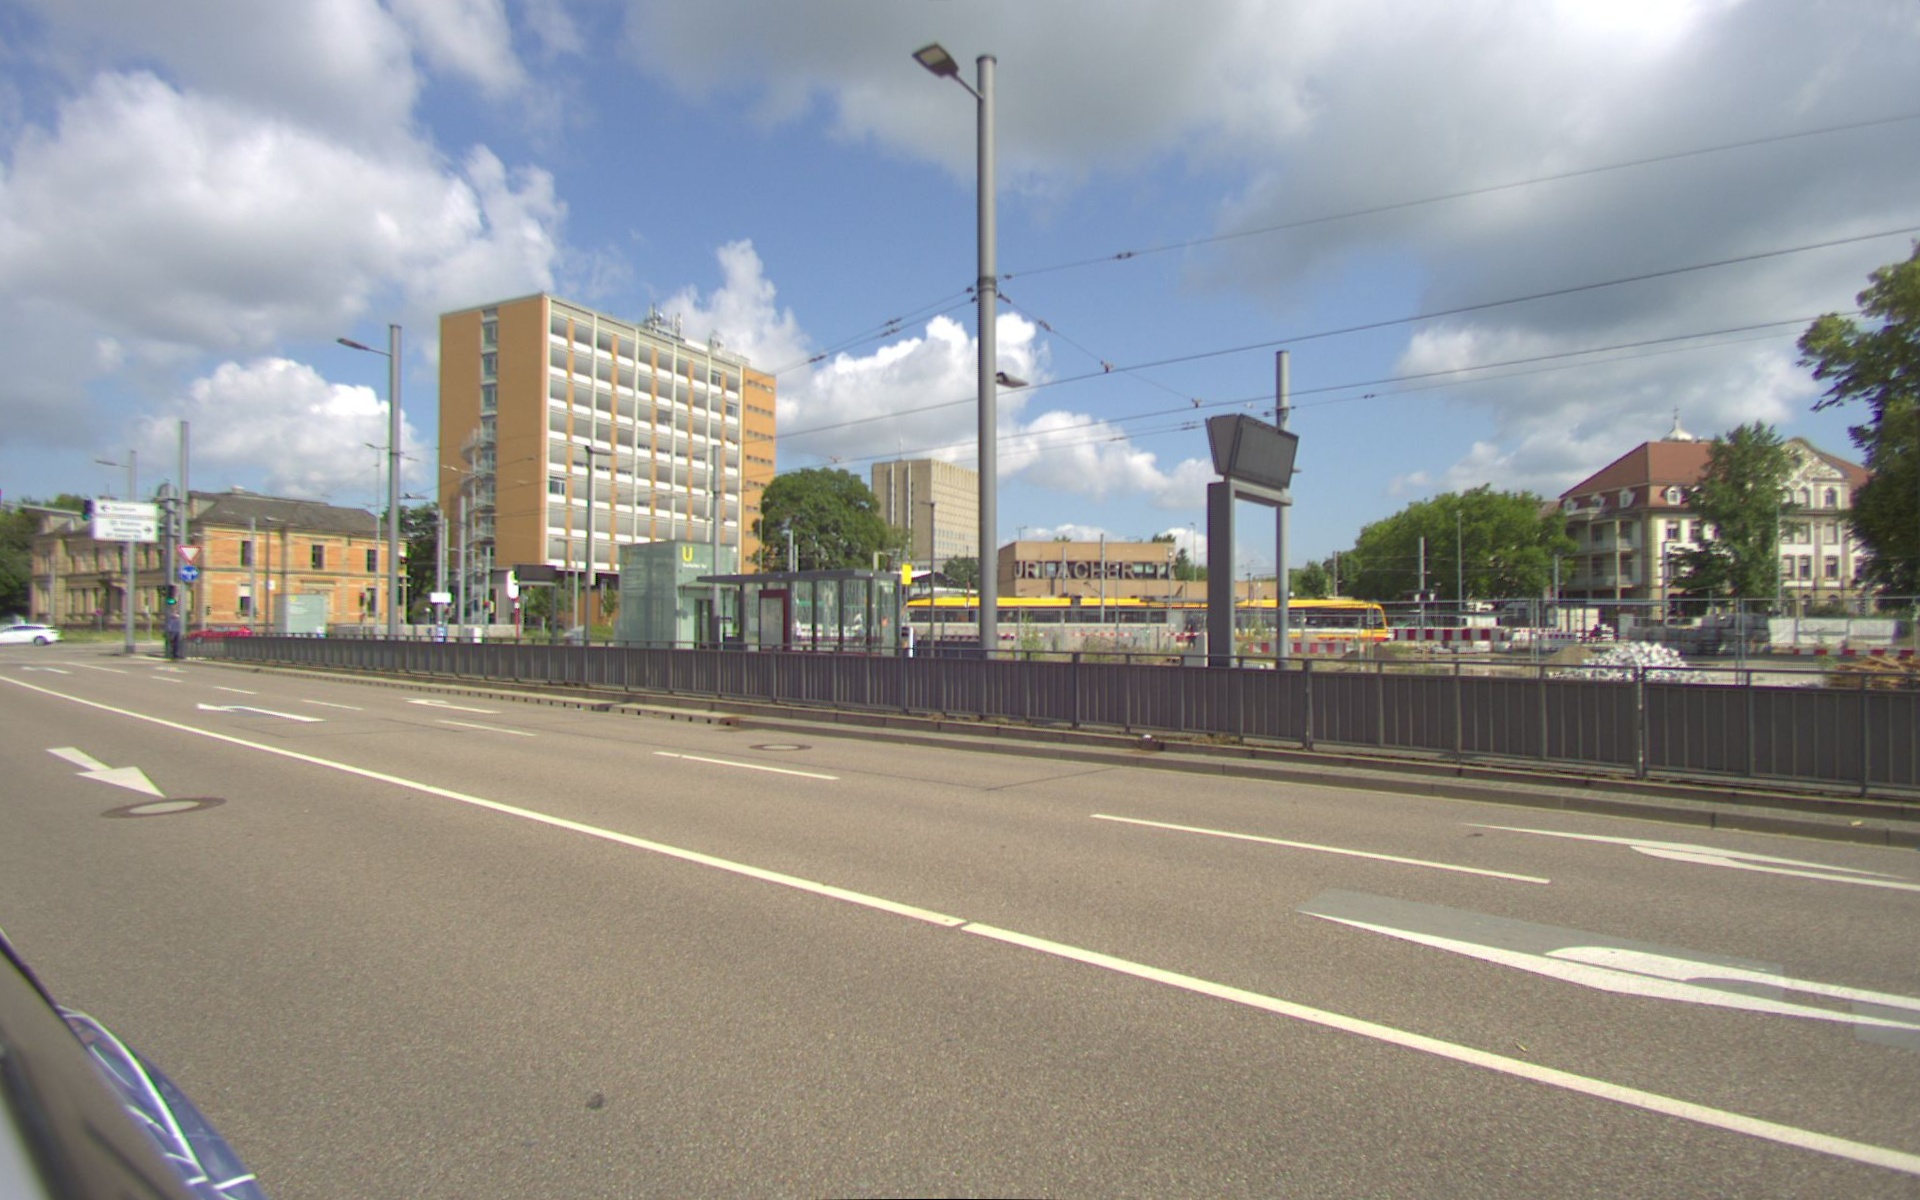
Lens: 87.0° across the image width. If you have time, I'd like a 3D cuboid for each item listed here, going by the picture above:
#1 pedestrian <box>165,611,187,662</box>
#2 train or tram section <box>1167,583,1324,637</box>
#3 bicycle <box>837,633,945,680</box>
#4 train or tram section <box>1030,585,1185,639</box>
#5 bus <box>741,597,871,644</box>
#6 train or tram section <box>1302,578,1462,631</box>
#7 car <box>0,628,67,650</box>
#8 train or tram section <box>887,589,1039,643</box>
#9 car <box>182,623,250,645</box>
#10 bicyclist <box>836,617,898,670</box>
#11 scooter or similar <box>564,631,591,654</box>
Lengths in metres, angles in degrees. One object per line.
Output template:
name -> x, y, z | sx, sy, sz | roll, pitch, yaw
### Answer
pedestrian -> -31.103, 1.452, 40.170 | 0.513, 2.029, 0.498 | -1, -2, 29
train or tram section -> 20.928, 0.746, 74.410 | 10.444, 3.507, 3.328 | -2, -3, -6
bicycle -> -2.271, 1.793, 32.836 | 3.689, 1.438, 1.182 | -1, -2, 39
train or tram section -> 10.610, 0.916, 73.352 | 10.444, 3.507, 3.328 | -2, -3, -6
bus -> -12.610, 1.764, 84.535 | 2.911, 3.648, 12.220 | -1, -2, 37
train or tram section -> 31.375, 0.368, 75.475 | 10.444, 3.507, 3.328 | -2, -3, -6
car -> -64.637, 2.678, 69.590 | 4.596, 1.440, 1.768 | 0, -3, -33
train or tram section -> 0.142, 1.168, 72.348 | 10.444, 3.507, 3.328 | -2, -3, -6
car -> -55.412, 2.529, 75.468 | 3.998, 1.479, 1.650 | 0, -4, -36
bicyclist -> -3.079, 1.426, 33.489 | 1.682, 1.696, 1.166 | -1, -2, 38
scooter or similar -> -20.471, 2.266, 54.133 | 1.164, 1.175, 0.804 | -1, -2, 31
